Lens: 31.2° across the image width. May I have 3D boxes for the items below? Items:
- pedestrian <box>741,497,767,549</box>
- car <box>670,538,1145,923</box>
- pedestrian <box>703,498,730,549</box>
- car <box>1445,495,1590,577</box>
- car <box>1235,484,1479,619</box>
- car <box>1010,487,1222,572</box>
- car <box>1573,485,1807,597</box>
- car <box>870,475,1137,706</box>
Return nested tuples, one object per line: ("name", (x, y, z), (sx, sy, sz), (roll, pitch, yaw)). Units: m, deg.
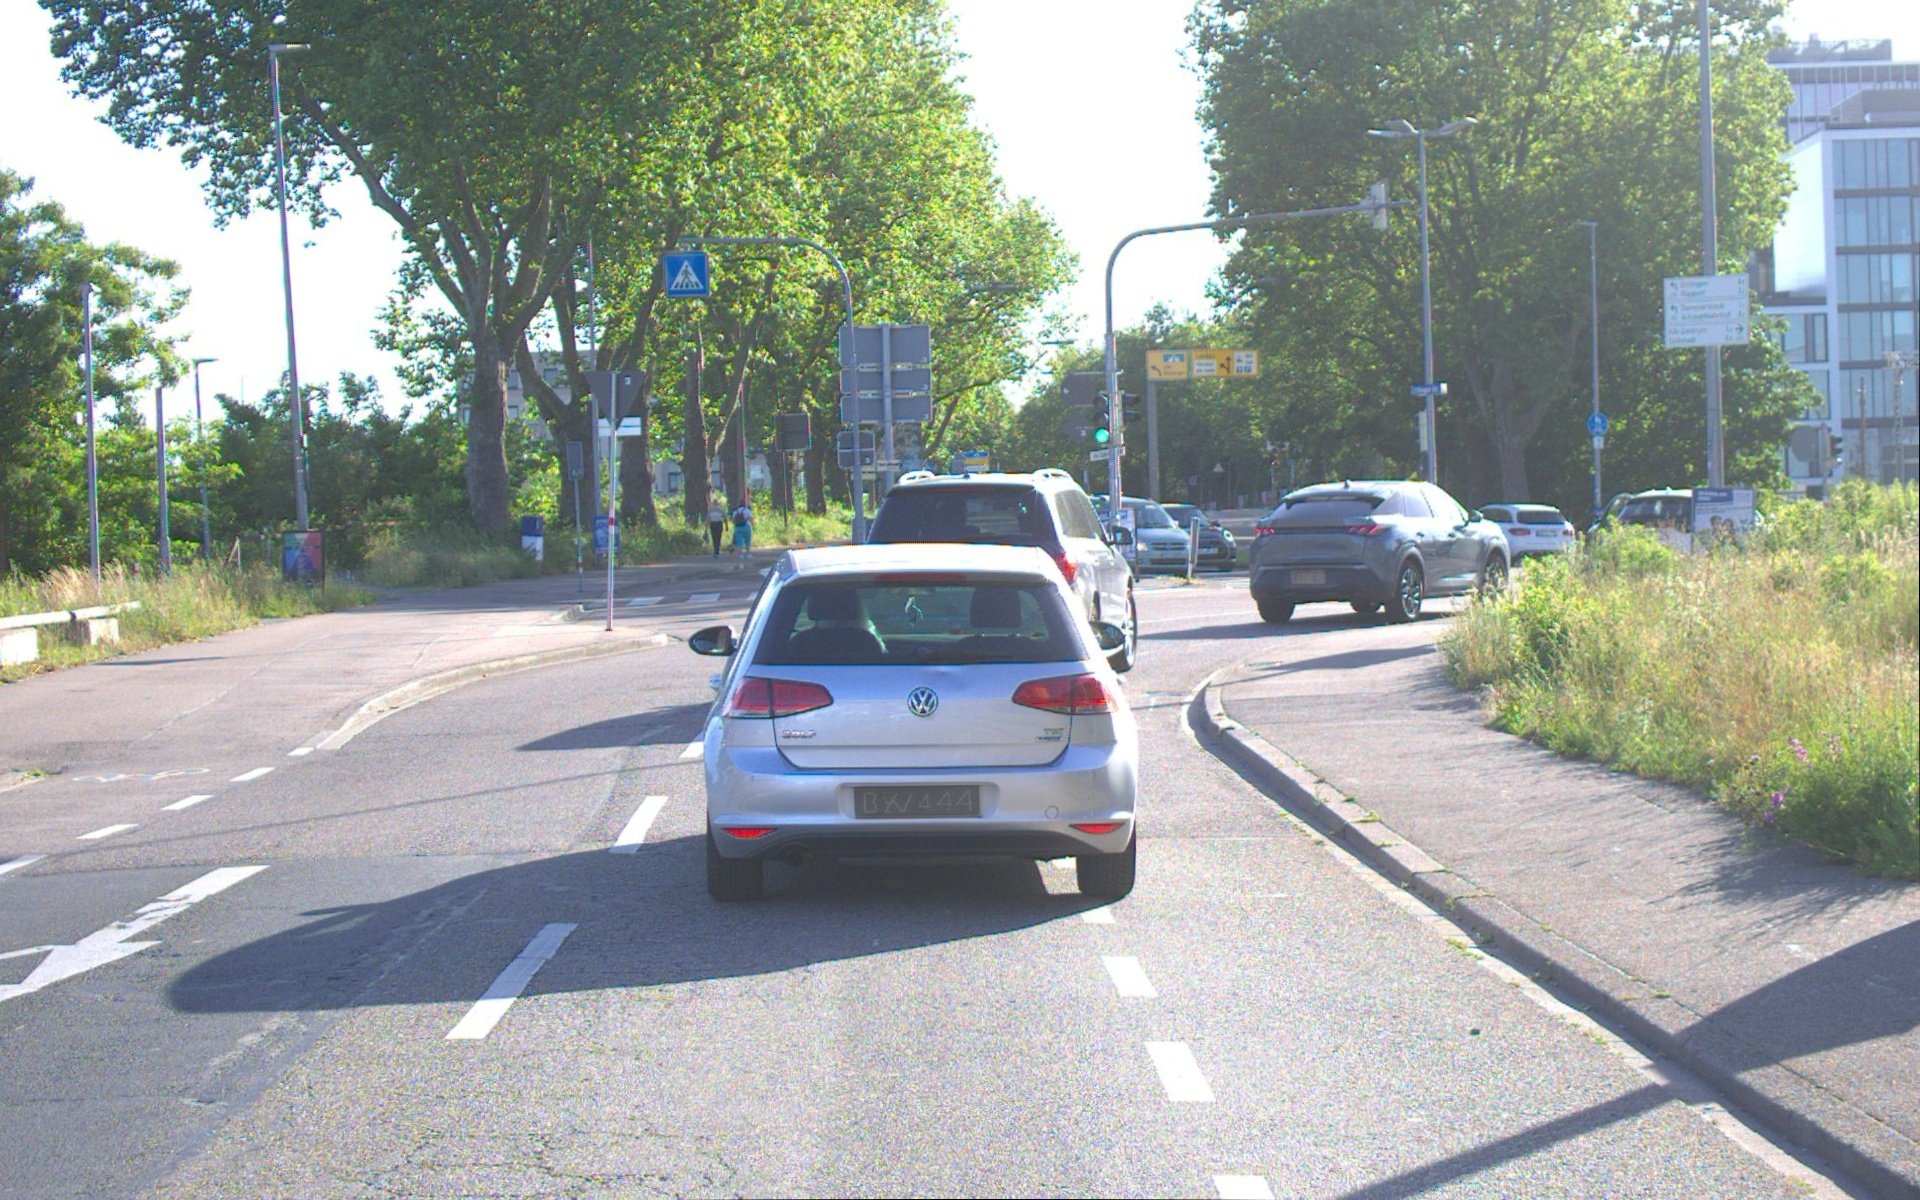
("pedestrian", (-5.688, -2.128, 94.975), (0.678, 1.410, 0.684), (-1, 1, -1))
("car", (-0.200, 0.464, 15.108), (1.790, 1.415, 4.000), (-1, 1, 0))
("pedestrian", (-6.742, -2.113, 95.142), (0.678, 1.410, 0.684), (-1, 1, -1))
("car", (13.183, -1.496, 81.500), (1.993, 1.853, 4.001), (-1, 0, -13))
("car", (4.837, -0.612, 41.338), (1.916, 1.524, 4.403), (0, 2, 20))
("car", (3.034, -1.382, 67.537), (1.994, 1.590, 3.999), (-2, 2, -38))
("car", (10.939, -0.902, 51.328), (1.902, 1.590, 3.992), (0, 2, 37))
("car", (0.453, -0.132, 28.858), (1.819, 1.762, 4.628), (-1, 1, 6))
